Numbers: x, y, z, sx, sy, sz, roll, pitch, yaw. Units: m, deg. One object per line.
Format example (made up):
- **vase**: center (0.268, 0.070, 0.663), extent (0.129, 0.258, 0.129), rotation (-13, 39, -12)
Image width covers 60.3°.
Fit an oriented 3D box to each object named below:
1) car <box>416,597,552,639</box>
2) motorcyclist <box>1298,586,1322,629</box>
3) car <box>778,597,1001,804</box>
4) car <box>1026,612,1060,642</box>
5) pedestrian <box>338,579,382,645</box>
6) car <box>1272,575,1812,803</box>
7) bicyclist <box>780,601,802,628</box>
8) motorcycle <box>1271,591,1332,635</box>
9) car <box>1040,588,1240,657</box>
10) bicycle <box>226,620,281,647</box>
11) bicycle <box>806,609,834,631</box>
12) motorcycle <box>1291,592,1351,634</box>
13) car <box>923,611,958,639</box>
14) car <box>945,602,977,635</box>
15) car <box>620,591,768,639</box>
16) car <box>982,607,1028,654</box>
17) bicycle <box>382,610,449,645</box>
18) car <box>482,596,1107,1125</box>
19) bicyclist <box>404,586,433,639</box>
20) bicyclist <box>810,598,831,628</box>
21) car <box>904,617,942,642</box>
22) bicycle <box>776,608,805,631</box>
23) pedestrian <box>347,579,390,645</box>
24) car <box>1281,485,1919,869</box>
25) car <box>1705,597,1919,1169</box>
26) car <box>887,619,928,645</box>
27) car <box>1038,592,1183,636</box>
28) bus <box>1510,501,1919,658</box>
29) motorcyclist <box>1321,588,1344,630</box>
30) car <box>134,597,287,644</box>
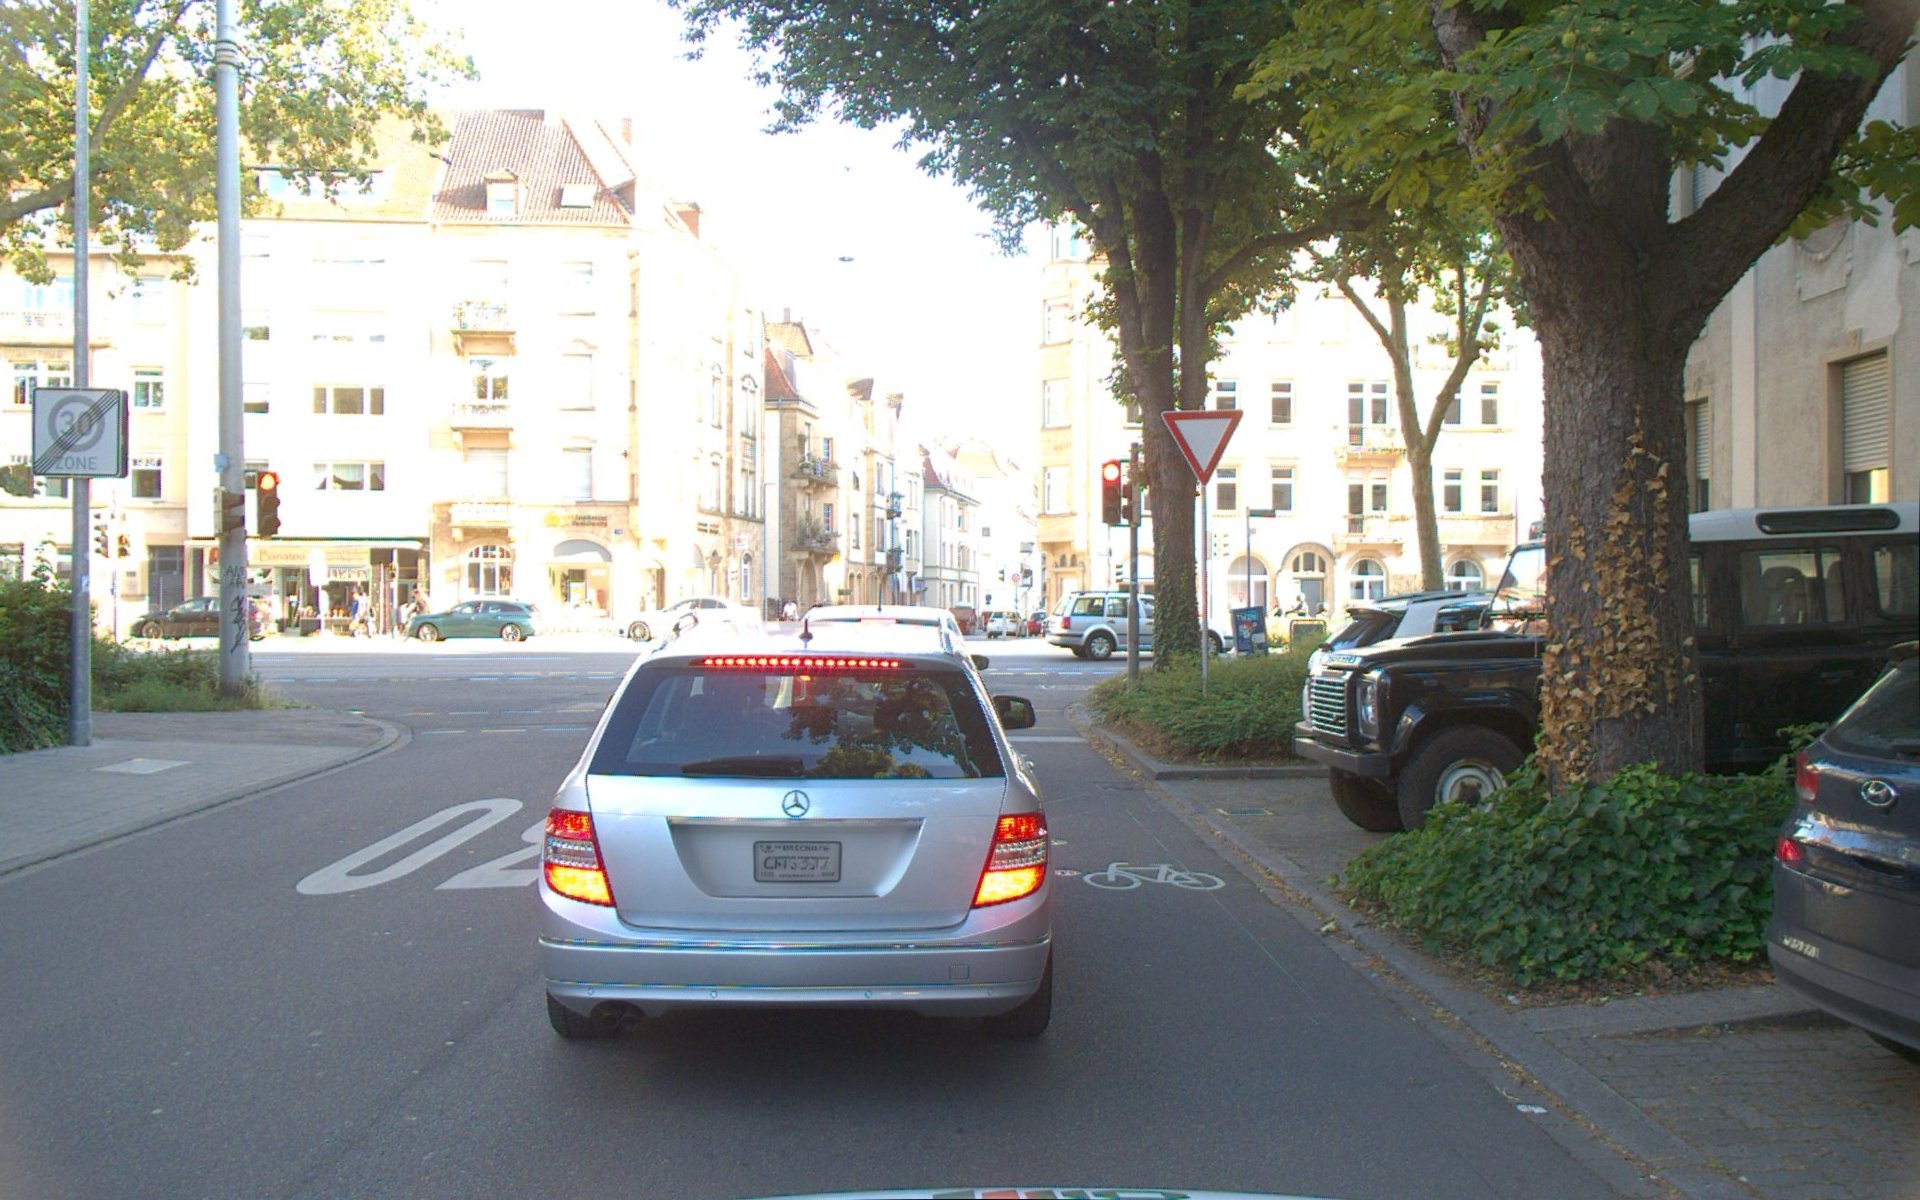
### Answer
- **car**: center (-15.917, 0.575, 55.437), extent (4.140, 1.372, 1.662), rotation (0, 0, -7)
- **motorcyclist**: center (12.158, 0.264, 57.436), extent (0.668, 1.477, 0.568), rotation (0, 0, -5)
- **car**: center (-0.592, 0.727, 14.025), extent (1.587, 1.472, 4.342), rotation (1, 0, -2)
- **car**: center (5.124, 1.652, 101.978), extent (1.796, 1.775, 4.003), rotation (0, 1, 7)
- **pedestrian**: center (-23.004, 0.451, 63.452), extent (1.320, 2.507, 1.059), rotation (0, 0, -5)
- **car**: center (4.510, 0.657, 13.144), extent (3.650, 1.597, 1.707), rotation (-1, 0, -4)
- **bicyclist**: center (-7.483, 0.641, 73.332), extent (0.754, 1.177, 0.753), rotation (1, 0, 10)
- **motorcycle**: center (11.847, 0.450, 57.404), extent (1.993, 1.477, 0.568), rotation (0, 0, -5)
- **car**: center (4.037, 0.486, 37.402), extent (4.263, 1.523, 1.659), rotation (0, 0, -7)
- **bicycle**: center (-24.214, 1.136, 56.706), extent (1.586, 0.892, 0.636), rotation (0, 0, -6)
- **bicycle**: center (-6.205, 0.881, 73.360), extent (0.754, 0.950, 1.942), rotation (1, 0, 10)
- **motorcycle**: center (12.830, 0.452, 58.777), extent (1.993, 1.477, 0.568), rotation (0, 0, -5)
- **car**: center (-1.262, 1.631, 108.711), extent (1.796, 1.692, 4.003), rotation (0, 1, 7)
- **car**: center (0.091, 1.278, 117.326), extent (1.749, 2.242, 4.003), rotation (0, 1, 7)
- **car**: center (-8.512, 0.470, 53.277), extent (4.613, 1.486, 1.834), rotation (0, 0, -7)
- **car**: center (2.359, 1.551, 85.906), extent (1.987, 2.319, 4.003), rotation (0, 1, 7)
- **bicycle**: center (-19.698, 0.995, 59.879), extent (2.212, 1.268, 0.636), rotation (0, 0, -5)
- **car**: center (-0.552, 0.737, 6.936), extent (1.741, 1.477, 4.546), rotation (1, 0, -2)
- **bicyclist**: center (-19.616, 0.450, 59.891), extent (0.874, 1.892, 0.636), rotation (0, 0, -5)
- **bicyclist**: center (-6.203, 0.582, 73.362), extent (0.754, 1.312, 0.753), rotation (1, 0, 10)
- **car**: center (-2.266, 1.821, 102.464), extent (1.796, 1.427, 4.003), rotation (0, 1, 7)
- **bicycle**: center (-7.501, 0.867, 73.253), extent (0.754, 0.956, 1.942), rotation (1, 0, 10)
- **pedestrian**: center (-23.054, 0.464, 64.465), extent (1.320, 2.507, 1.059), rotation (0, 0, -5)
- **car**: center (4.368, 0.410, 10.176), extent (4.377, 2.072, 1.699), rotation (-1, 0, -4)
- **car**: center (4.283, 0.700, 4.598), extent (3.650, 1.477, 1.707), rotation (-1, 0, -4)
- **car**: center (-3.066, 1.870, 96.960), extent (1.796, 1.427, 4.003), rotation (0, 1, 7)
- **car**: center (5.190, 0.477, 57.412), extent (4.788, 1.477, 1.857), rotation (0, 0, -5)
- **bus**: center (16.575, -0.475, 36.436), extent (8.024, 3.257, 2.906), rotation (-1, 0, -9)
- **motorcyclist**: center (13.237, 0.326, 58.802), extent (0.668, 1.477, 0.568), rotation (0, 0, -5)
- **car**: center (-23.046, 0.610, 50.956), extent (3.956, 1.384, 1.661), rotation (0, 0, -7)
